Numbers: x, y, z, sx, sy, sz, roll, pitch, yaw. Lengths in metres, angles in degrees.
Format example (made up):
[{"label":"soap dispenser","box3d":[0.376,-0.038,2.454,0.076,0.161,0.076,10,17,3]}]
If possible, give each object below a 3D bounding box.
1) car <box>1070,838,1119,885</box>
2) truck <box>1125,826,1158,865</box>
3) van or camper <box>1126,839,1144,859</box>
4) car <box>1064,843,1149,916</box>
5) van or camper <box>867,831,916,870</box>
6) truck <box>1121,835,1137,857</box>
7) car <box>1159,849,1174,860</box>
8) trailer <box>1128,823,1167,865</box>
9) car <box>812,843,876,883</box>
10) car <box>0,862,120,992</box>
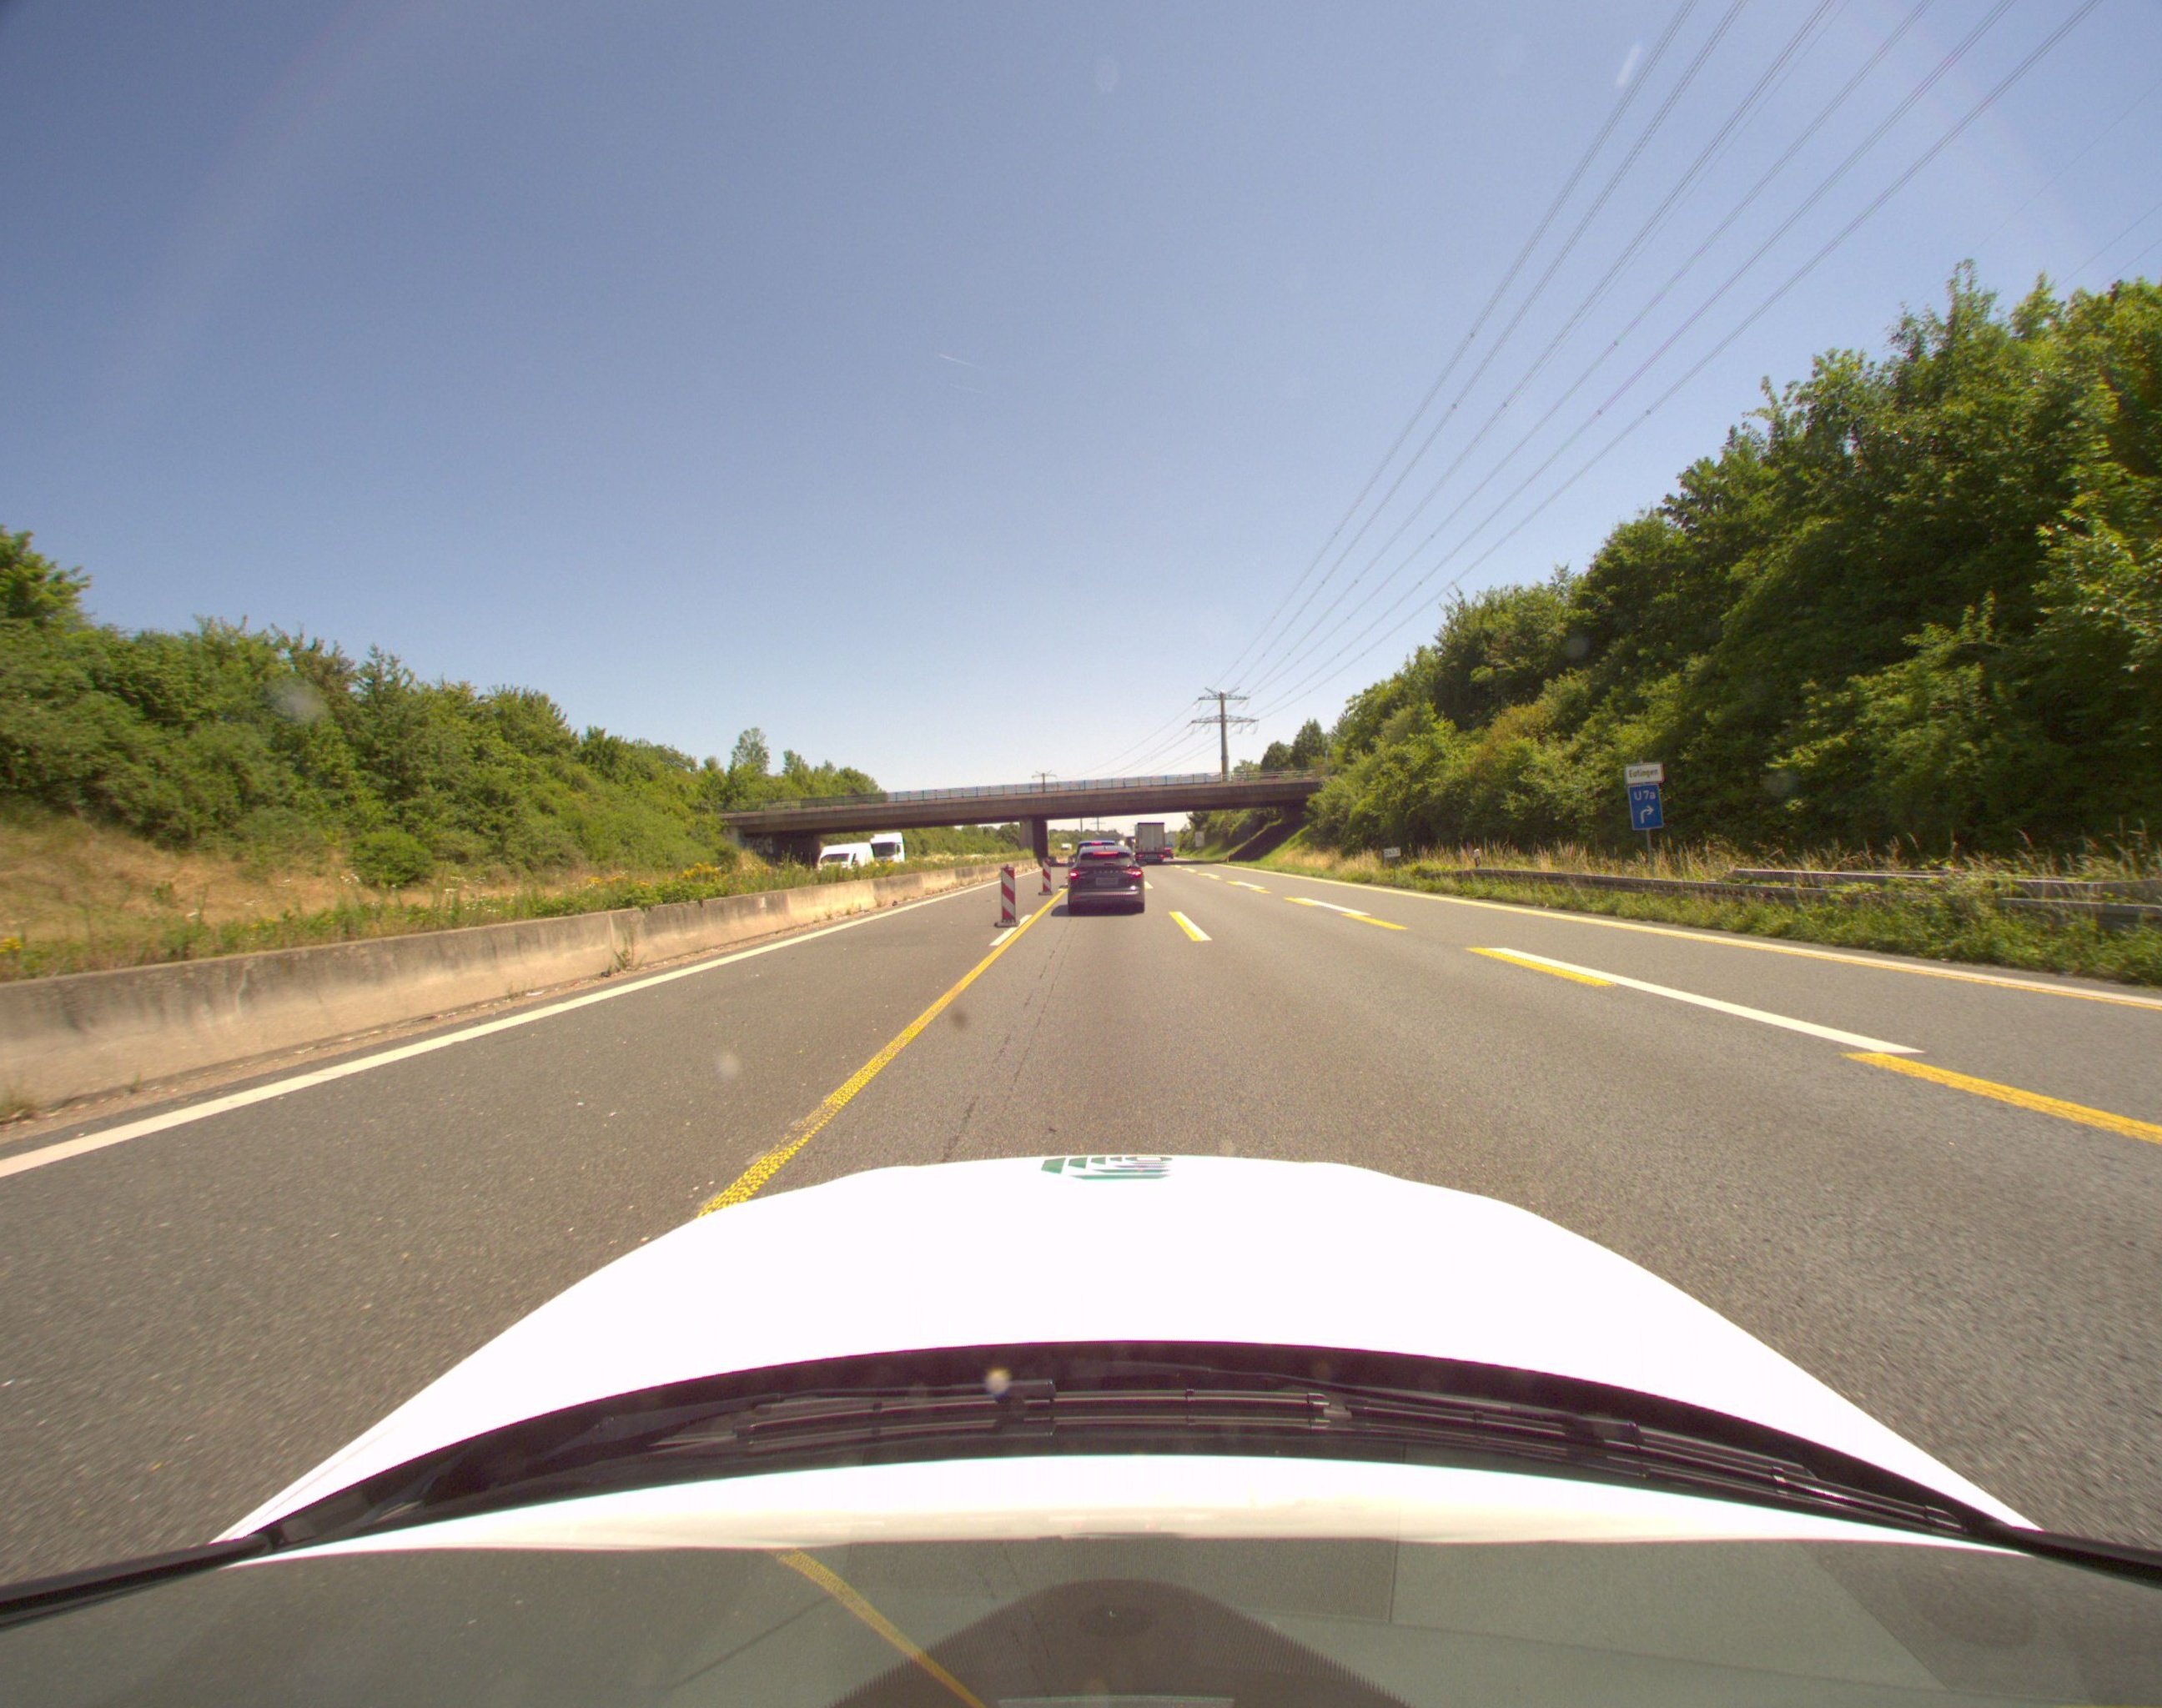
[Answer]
[{"label":"car","box3d":[0.542,0.293,34.232,1.889,1.841,4.442,1,0,0]},{"label":"truck","box3d":[6.696,-0.973,90.846,3.015,4.087,7.795,-1,0,0]},{"label":"van or camper","box3d":[8.278,-0.762,126.369,2.576,2.968,6.088,-1,0,2]},{"label":"car","box3d":[0.601,0.554,20.608,1.889,1.592,4.443,-1,1,0]},{"label":"van or camper","box3d":[-16.399,-0.284,70.938,2.560,3.187,6.235,-1,0,1]},{"label":"truck","box3d":[9.459,-1.457,161.235,3.065,4.146,13.063,-1,0,3]},{"label":"car","box3d":[12.051,0.057,115.306,1.772,1.489,4.465,-1,0,1]},{"label":"trailer","box3d":[6.691,-1.004,84.076,3.055,4.042,11.486,-2,0,0]},{"label":"car","box3d":[-13.636,0.485,47.289,2.105,2.197,5.312,0,0,0]},{"label":"car","box3d":[-13.586,0.887,8.713,1.755,1.505,4.020,-1,0,1]}]
